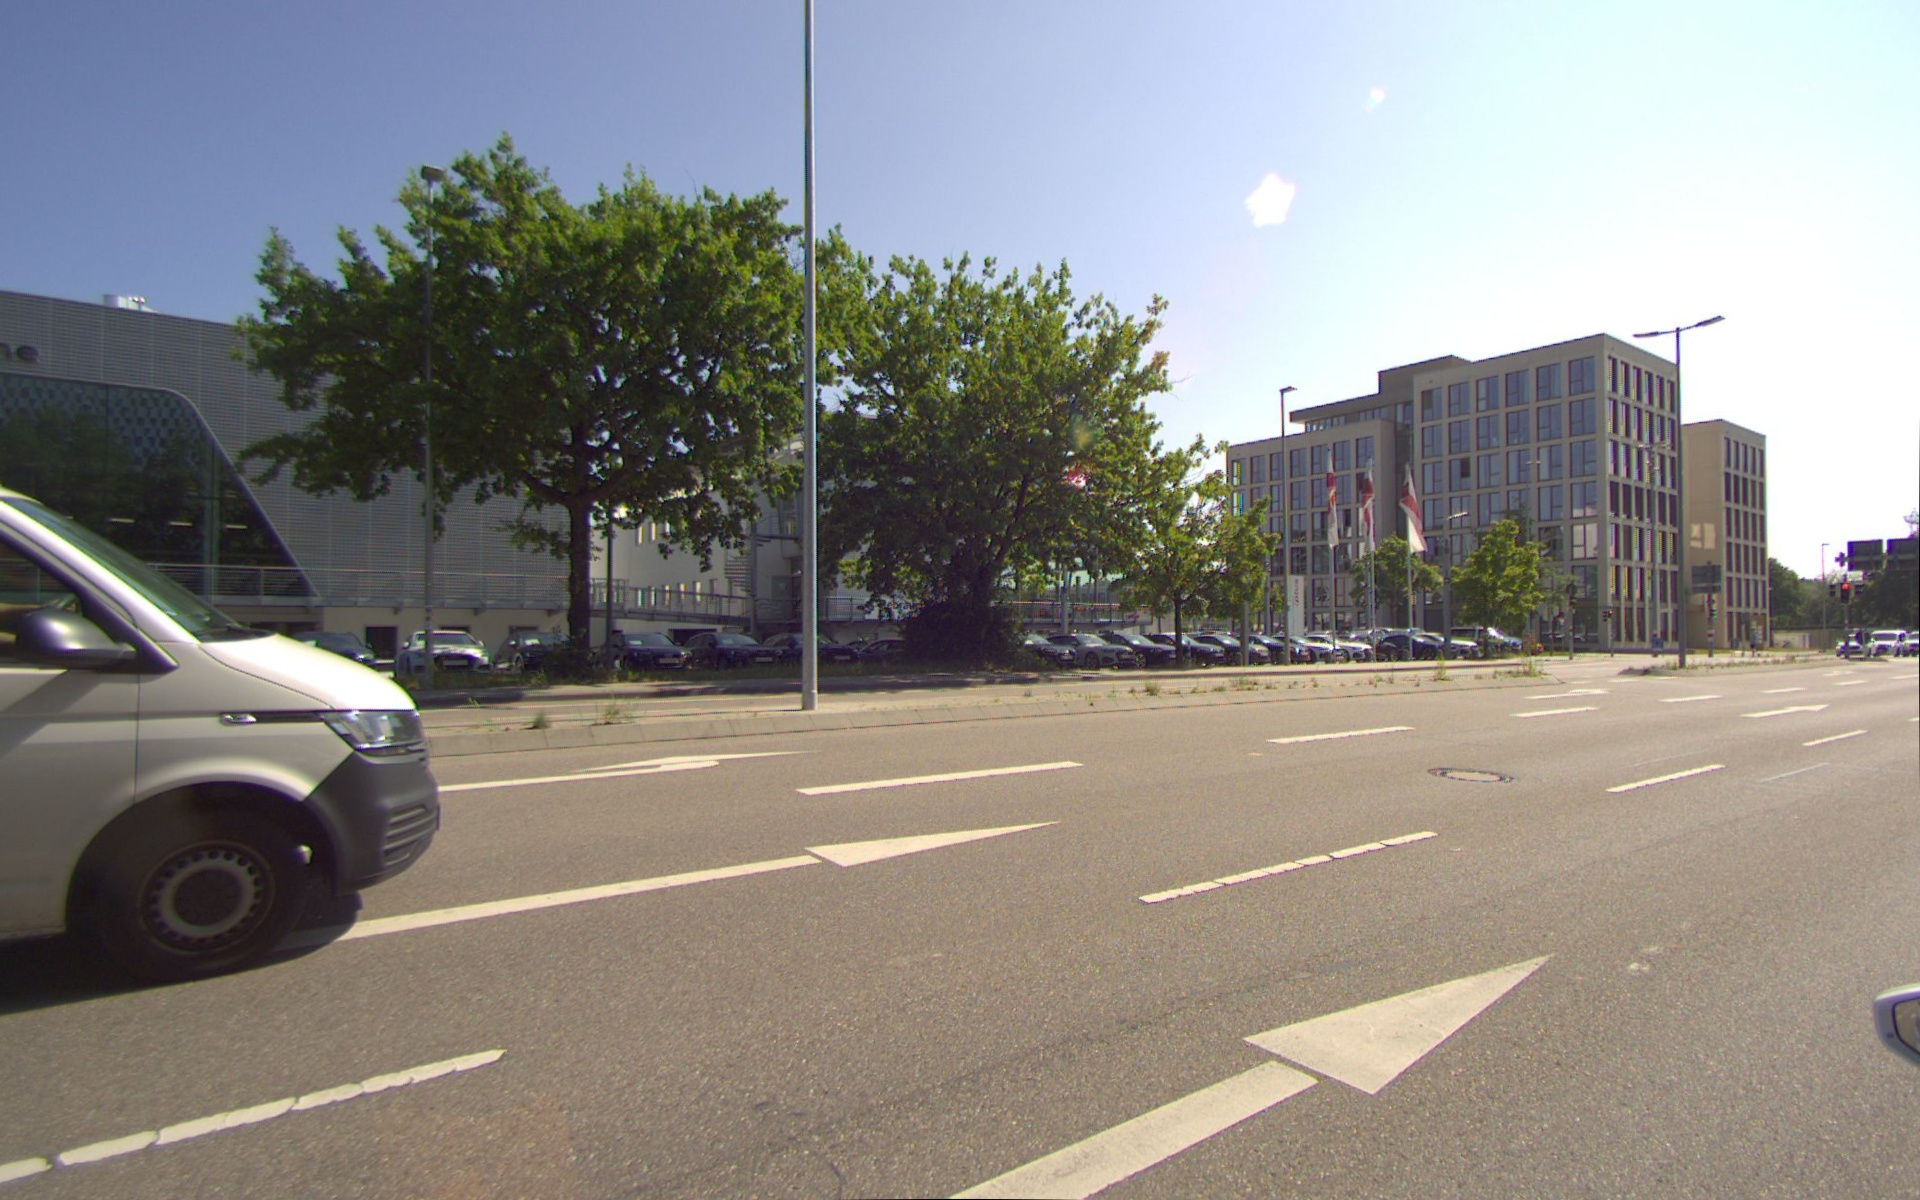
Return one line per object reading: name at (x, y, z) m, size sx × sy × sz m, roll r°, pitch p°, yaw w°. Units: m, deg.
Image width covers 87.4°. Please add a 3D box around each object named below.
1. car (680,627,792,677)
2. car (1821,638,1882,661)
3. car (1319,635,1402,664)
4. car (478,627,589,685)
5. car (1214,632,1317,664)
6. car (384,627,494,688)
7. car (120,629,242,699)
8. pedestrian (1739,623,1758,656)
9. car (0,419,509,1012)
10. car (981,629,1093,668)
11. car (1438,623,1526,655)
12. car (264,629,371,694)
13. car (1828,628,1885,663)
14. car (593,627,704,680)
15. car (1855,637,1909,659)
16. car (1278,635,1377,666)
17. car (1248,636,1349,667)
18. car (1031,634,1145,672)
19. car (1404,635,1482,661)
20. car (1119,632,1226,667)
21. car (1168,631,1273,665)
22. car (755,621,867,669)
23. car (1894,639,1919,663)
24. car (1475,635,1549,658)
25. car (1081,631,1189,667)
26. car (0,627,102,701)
car at (-6.780, 1.529, 30.150) m, size 1.905 × 1.394 × 3.961 m, roll 1°, pitch -2°, yaw -35°
car at (57.889, 3.186, 65.205) m, size 3.956 × 1.483 × 1.882 m, roll 1°, pitch -3°, yaw -32°
car at (20.199, 2.471, 50.618) m, size 4.392 × 1.361 × 1.694 m, roll 1°, pitch -2°, yaw -33°
car at (-11.293, 1.430, 26.472) m, size 1.905 × 1.394 × 3.961 m, roll 1°, pitch -2°, yaw -35°
car at (13.421, 2.103, 44.333) m, size 1.981 × 1.361 × 3.959 m, roll 1°, pitch -2°, yaw -37°
car at (-13.039, 1.386, 25.038) m, size 1.905 × 1.394 × 3.961 m, roll 1°, pitch -2°, yaw -35°
car at (-17.004, 1.343, 22.092) m, size 1.905 × 1.394 × 3.961 m, roll 1°, pitch -2°, yaw -35°
pedestrian at (50.193, 2.529, 63.940) m, size 0.744 × 2.041 × 0.932 m, roll 1°, pitch 1°, yaw 29°
car at (-4.500, 0.402, 3.668) m, size 4.929 × 2.020 × 1.868 m, roll 1°, pitch -2°, yaw -38°
car at (2.743, 1.744, 36.428) m, size 1.981 × 1.329 × 3.959 m, roll 1°, pitch -2°, yaw -37°
car at (34.856, 2.622, 67.211) m, size 1.980 × 2.077 × 4.884 m, roll 1°, pitch -2°, yaw -34°
car at (-15.085, 1.385, 23.494) m, size 1.905 × 1.394 × 3.961 m, roll 1°, pitch -2°, yaw -35°
car at (38.023, 1.916, 42.600) m, size 2.771 × 1.349 × 1.207 m, roll 0°, pitch 1°, yaw -35°
car at (-8.975, 1.496, 28.715) m, size 1.905 × 1.394 × 3.961 m, roll 1°, pitch -2°, yaw -35°
car at (63.948, 3.329, 69.653) m, size 3.956 × 1.483 × 1.806 m, roll 1°, pitch -3°, yaw -32°
car at (17.270, 2.342, 47.304) m, size 1.981 × 1.361 × 3.959 m, roll 1°, pitch -2°, yaw -37°
car at (15.400, 2.322, 45.851) m, size 1.981 × 1.361 × 3.959 m, roll 1°, pitch -2°, yaw -37°
car at (4.775, 1.961, 37.904) m, size 1.981 × 1.361 × 4.121 m, roll 1°, pitch -2°, yaw -37°
car at (25.835, 2.543, 53.798) m, size 1.627 × 1.361 × 3.392 m, roll 1°, pitch -2°, yaw -33°
car at (8.606, 1.983, 40.970) m, size 1.981 × 1.361 × 3.959 m, roll 1°, pitch -2°, yaw -37°
car at (11.031, 2.017, 42.664) m, size 1.982 × 1.361 × 3.957 m, roll 1°, pitch -2°, yaw -38°
car at (-4.730, 1.392, 31.495) m, size 1.905 × 1.394 × 3.961 m, roll 1°, pitch -2°, yaw -35°
car at (60.806, 3.217, 63.339) m, size 3.956 × 1.483 × 1.806 m, roll 1°, pitch -3°, yaw -32°
car at (37.778, 3.174, 68.786) m, size 1.980 × 1.483 × 3.962 m, roll 1°, pitch -2°, yaw -34°
car at (6.834, 1.901, 39.515) m, size 1.981 × 1.361 × 3.959 m, roll 1°, pitch -2°, yaw -37°
car at (-19.115, 1.267, 20.599) m, size 1.905 × 1.394 × 3.961 m, roll 1°, pitch -2°, yaw -35°
